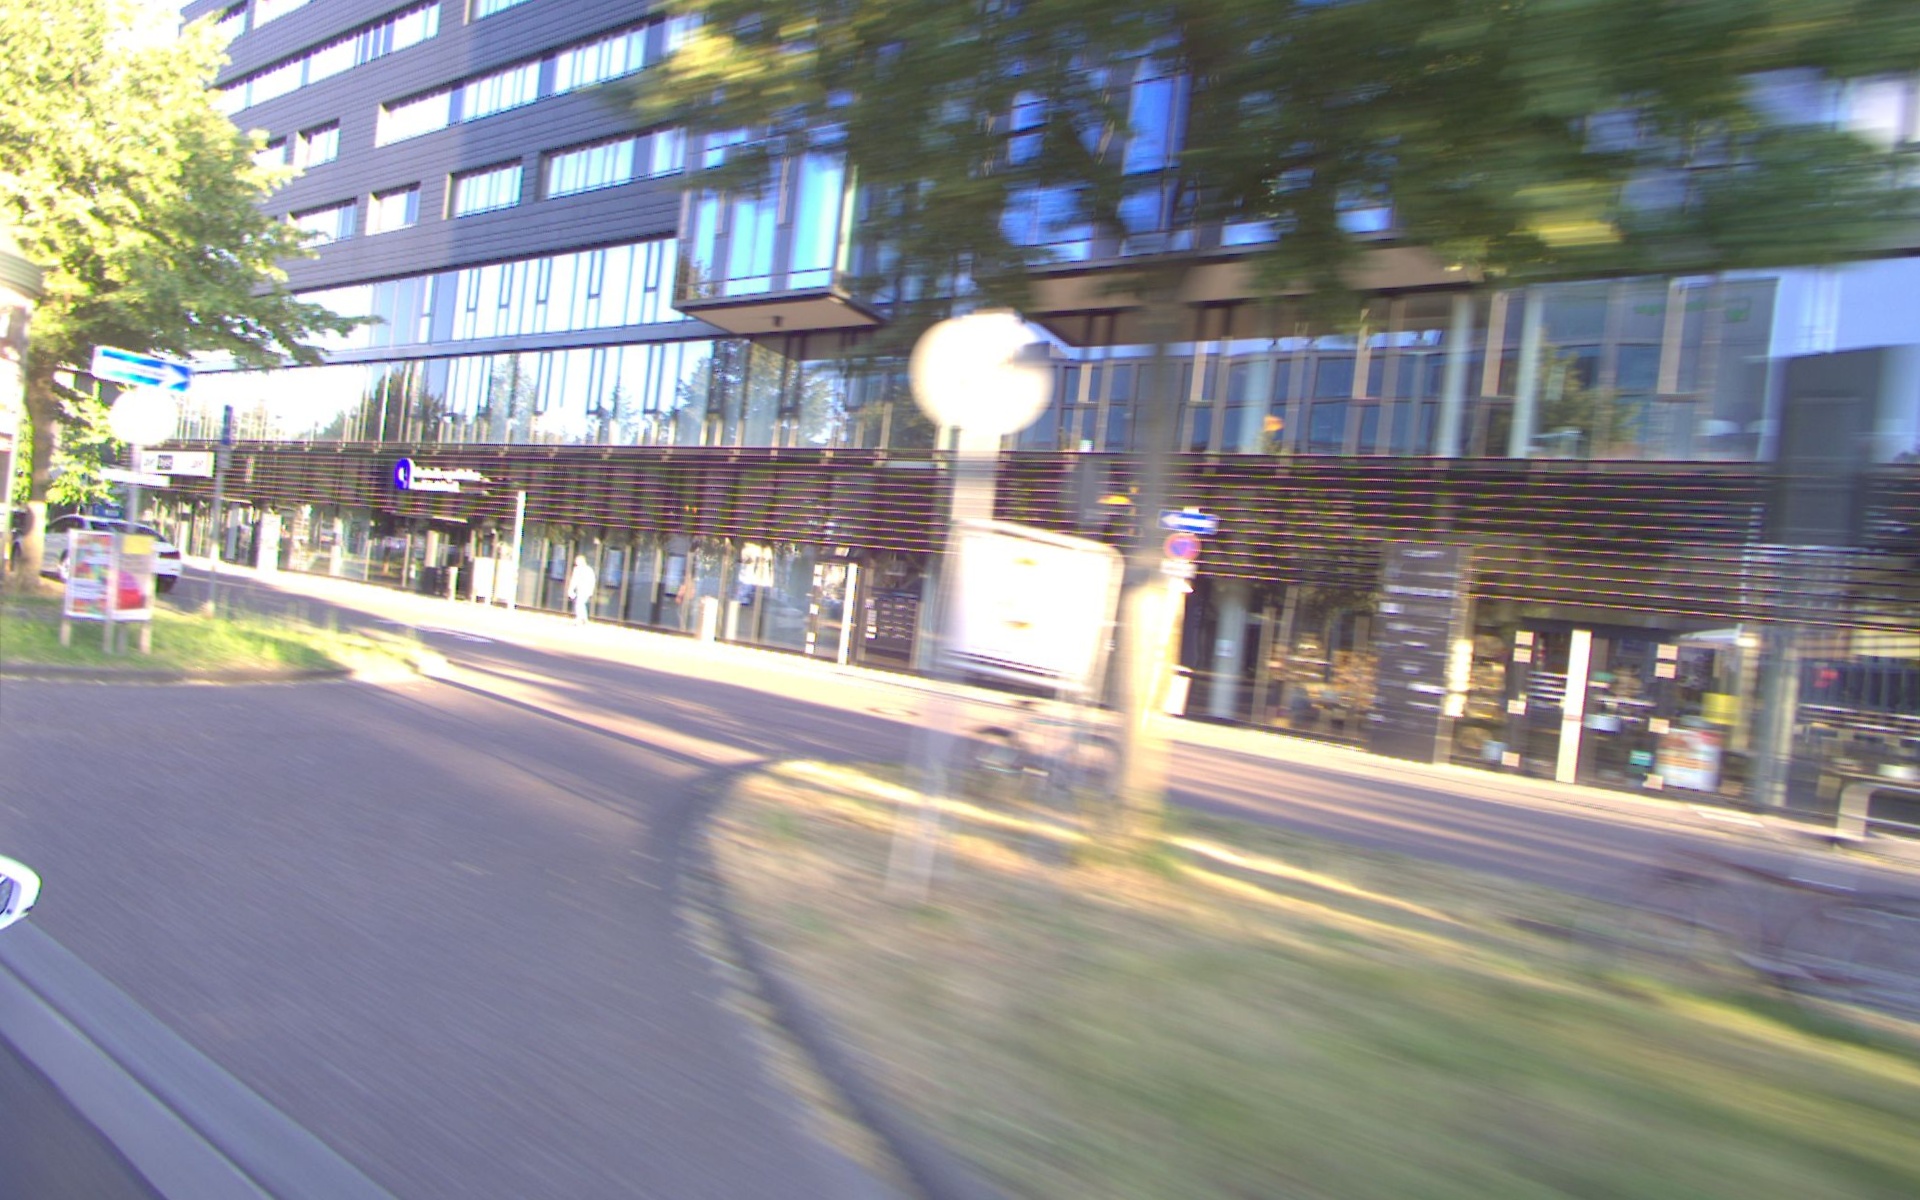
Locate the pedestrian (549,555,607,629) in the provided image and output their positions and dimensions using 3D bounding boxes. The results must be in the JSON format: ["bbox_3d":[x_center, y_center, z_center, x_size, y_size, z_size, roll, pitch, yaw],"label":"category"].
[{"bbox_3d":[-10.101,-0.201,26.624,0.897,1.819,0.897,6,0,31],"label":"pedestrian"}]

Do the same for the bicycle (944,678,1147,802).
[{"bbox_3d":[0.758,1.225,8.698,1.702,0.921,0.360,7,0,-25],"label":"bicycle"}]

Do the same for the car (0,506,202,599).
[{"bbox_3d":[-19.289,-1.076,22.488,4.957,1.514,1.921,6,-2,31],"label":"car"}]

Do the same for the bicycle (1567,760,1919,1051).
[{"bbox_3d":[3.944,1.424,4.783,1.657,1.007,0.580,6,0,25],"label":"bicycle"}]
